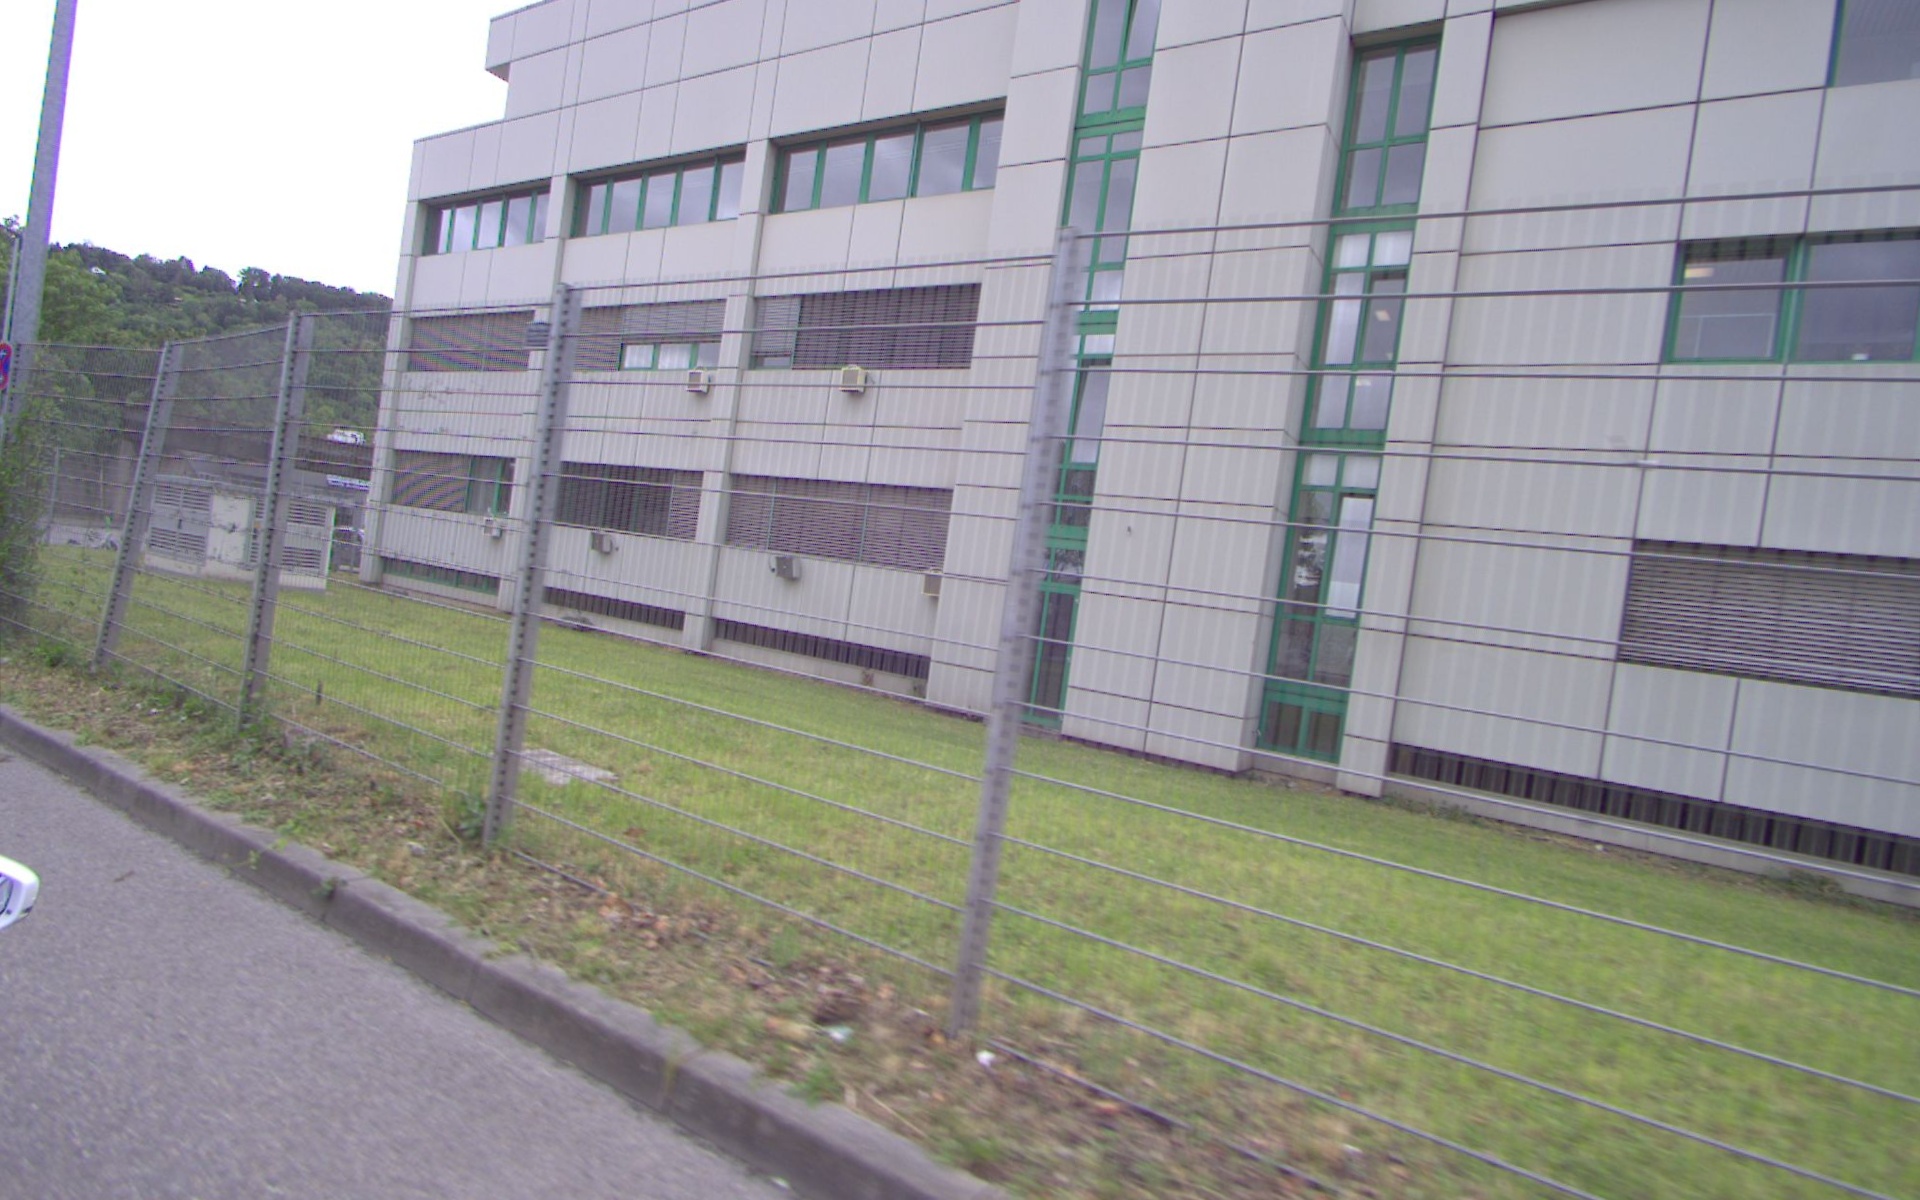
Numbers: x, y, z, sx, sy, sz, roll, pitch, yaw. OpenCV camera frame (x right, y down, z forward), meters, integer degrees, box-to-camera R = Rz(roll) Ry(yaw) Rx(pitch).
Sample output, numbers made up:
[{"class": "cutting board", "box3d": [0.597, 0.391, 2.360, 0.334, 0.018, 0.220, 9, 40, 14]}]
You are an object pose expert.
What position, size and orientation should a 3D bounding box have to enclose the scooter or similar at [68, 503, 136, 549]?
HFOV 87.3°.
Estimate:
[{"class": "scooter or similar", "box3d": [-25.137, -2.169, 29.500, 1.395, 1.147, 0.480, 6, 0, -9]}]
